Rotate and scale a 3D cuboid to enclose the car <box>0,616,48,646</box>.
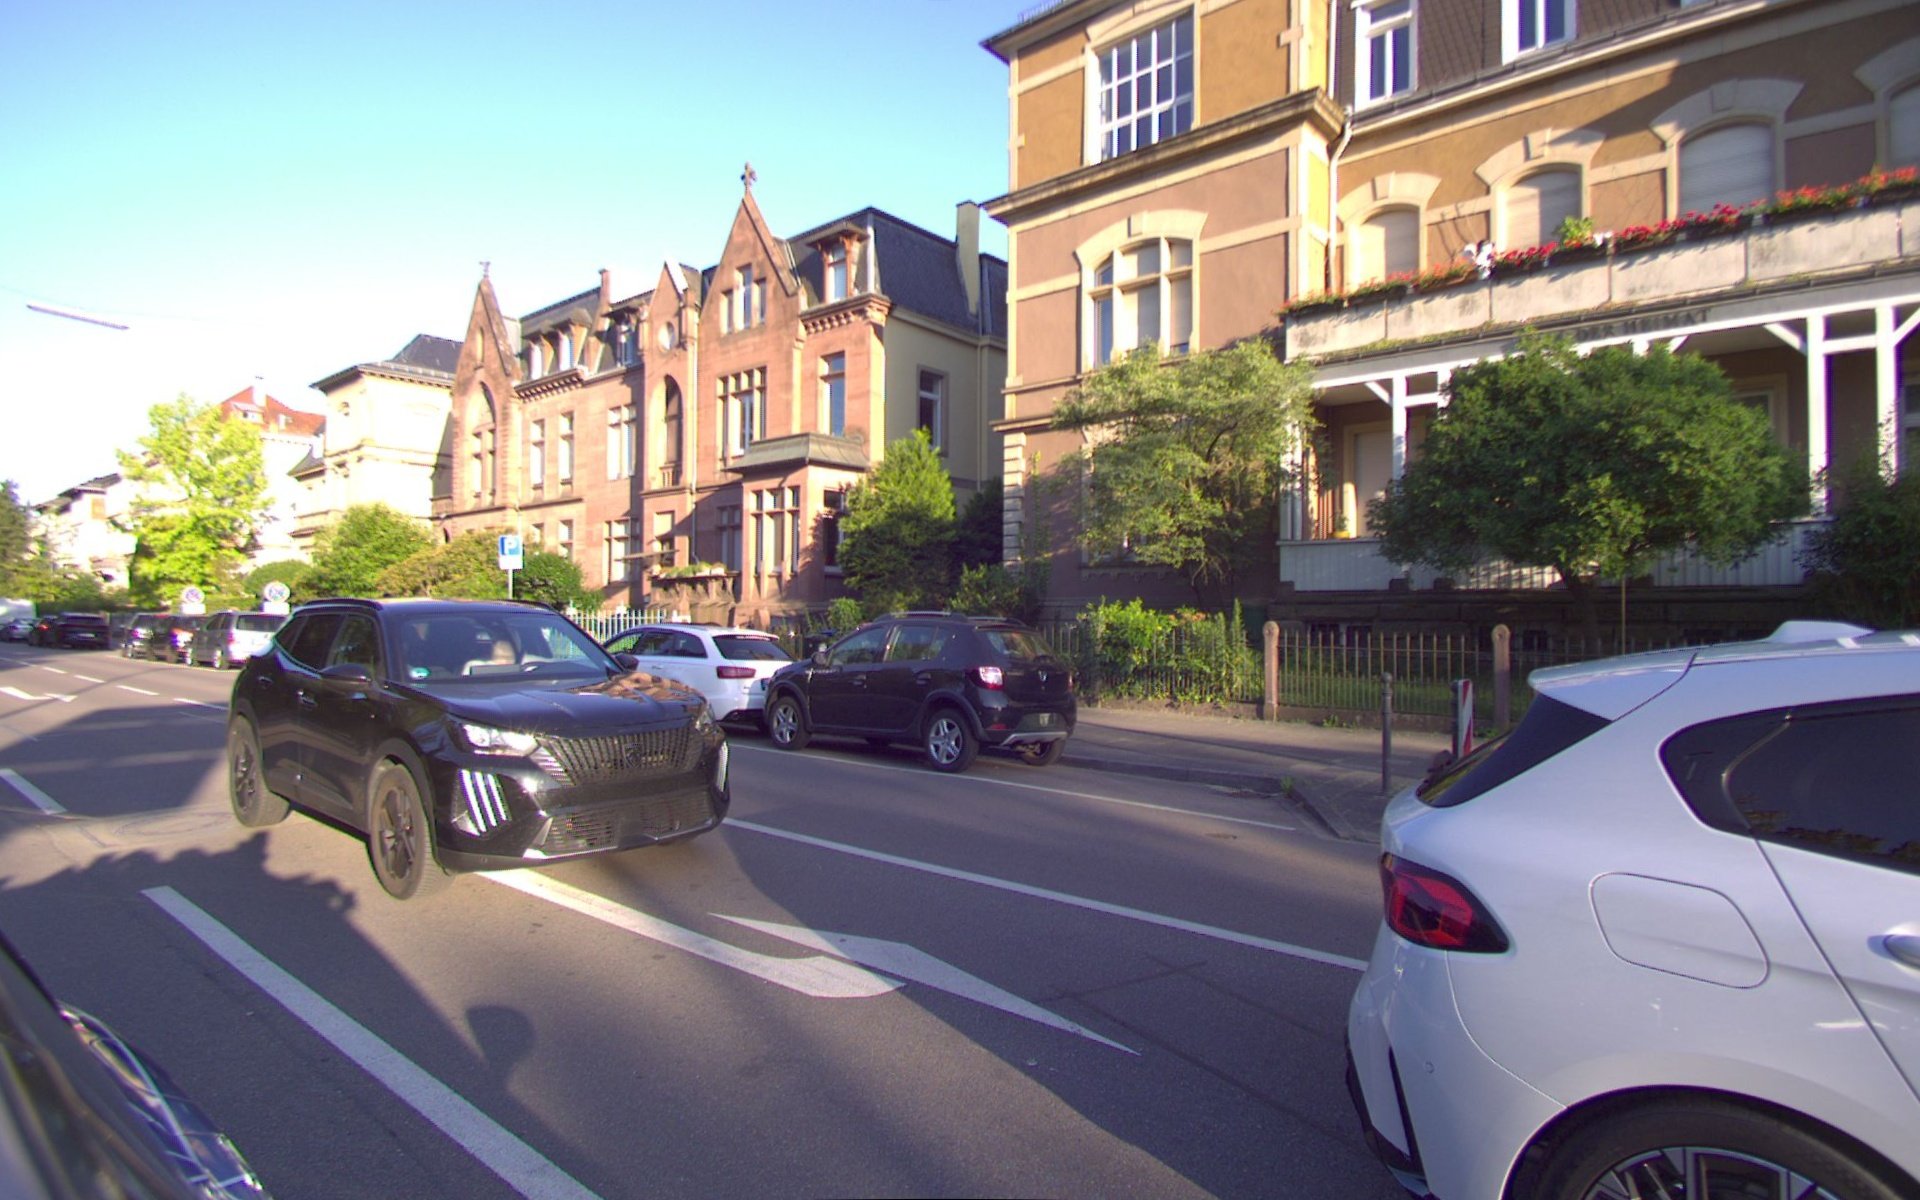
[{"bbox_3d":[-51.701,1.719,55.757,3.852,1.617,1.693,-1,-3,41],"label":"car"}]

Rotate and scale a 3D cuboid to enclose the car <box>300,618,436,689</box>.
[{"bbox_3d":[-13.261,1.147,22.596,3.566,1.456,1.610,-1,-3,43],"label":"car"}]

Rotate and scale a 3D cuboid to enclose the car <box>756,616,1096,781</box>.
[{"bbox_3d":[-0.486,1.006,11.378,3.722,1.546,1.610,-1,-5,43],"label":"car"}]

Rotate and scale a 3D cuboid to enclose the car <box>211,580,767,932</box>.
[{"bbox_3d":[-3.150,0.728,6.395,3.997,1.547,1.661,-1,-2,40],"label":"car"}]

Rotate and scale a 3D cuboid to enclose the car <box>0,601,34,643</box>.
[{"bbox_3d":[-57.002,1.321,60.014,5.874,2.387,2.203,-1,-3,40],"label":"car"}]

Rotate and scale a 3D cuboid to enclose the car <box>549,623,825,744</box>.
[{"bbox_3d":[-3.974,1.086,14.290,4.432,1.454,1.587,-1,-5,43],"label":"car"}]

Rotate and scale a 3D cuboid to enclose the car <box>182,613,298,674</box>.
[{"bbox_3d":[-20.404,1.199,28.640,3.749,1.601,1.694,-1,-3,39],"label":"car"}]

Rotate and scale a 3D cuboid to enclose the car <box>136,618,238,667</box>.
[{"bbox_3d":[-24.341,1.310,31.828,3.719,1.461,1.694,-1,-3,39],"label":"car"}]

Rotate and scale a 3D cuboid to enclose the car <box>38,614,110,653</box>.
[{"bbox_3d":[-38.670,1.459,44.134,3.721,1.617,1.856,-1,-3,41],"label":"car"}]

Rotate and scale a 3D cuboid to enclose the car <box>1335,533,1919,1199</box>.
[{"bbox_3d":[2.895,0.641,1.324,4.185,1.477,1.734,-1,-2,40],"label":"car"}]

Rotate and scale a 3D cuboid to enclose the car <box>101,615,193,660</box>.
[{"bbox_3d":[-28.008,1.278,34.835,3.719,1.461,1.694,-1,-3,39],"label":"car"}]
